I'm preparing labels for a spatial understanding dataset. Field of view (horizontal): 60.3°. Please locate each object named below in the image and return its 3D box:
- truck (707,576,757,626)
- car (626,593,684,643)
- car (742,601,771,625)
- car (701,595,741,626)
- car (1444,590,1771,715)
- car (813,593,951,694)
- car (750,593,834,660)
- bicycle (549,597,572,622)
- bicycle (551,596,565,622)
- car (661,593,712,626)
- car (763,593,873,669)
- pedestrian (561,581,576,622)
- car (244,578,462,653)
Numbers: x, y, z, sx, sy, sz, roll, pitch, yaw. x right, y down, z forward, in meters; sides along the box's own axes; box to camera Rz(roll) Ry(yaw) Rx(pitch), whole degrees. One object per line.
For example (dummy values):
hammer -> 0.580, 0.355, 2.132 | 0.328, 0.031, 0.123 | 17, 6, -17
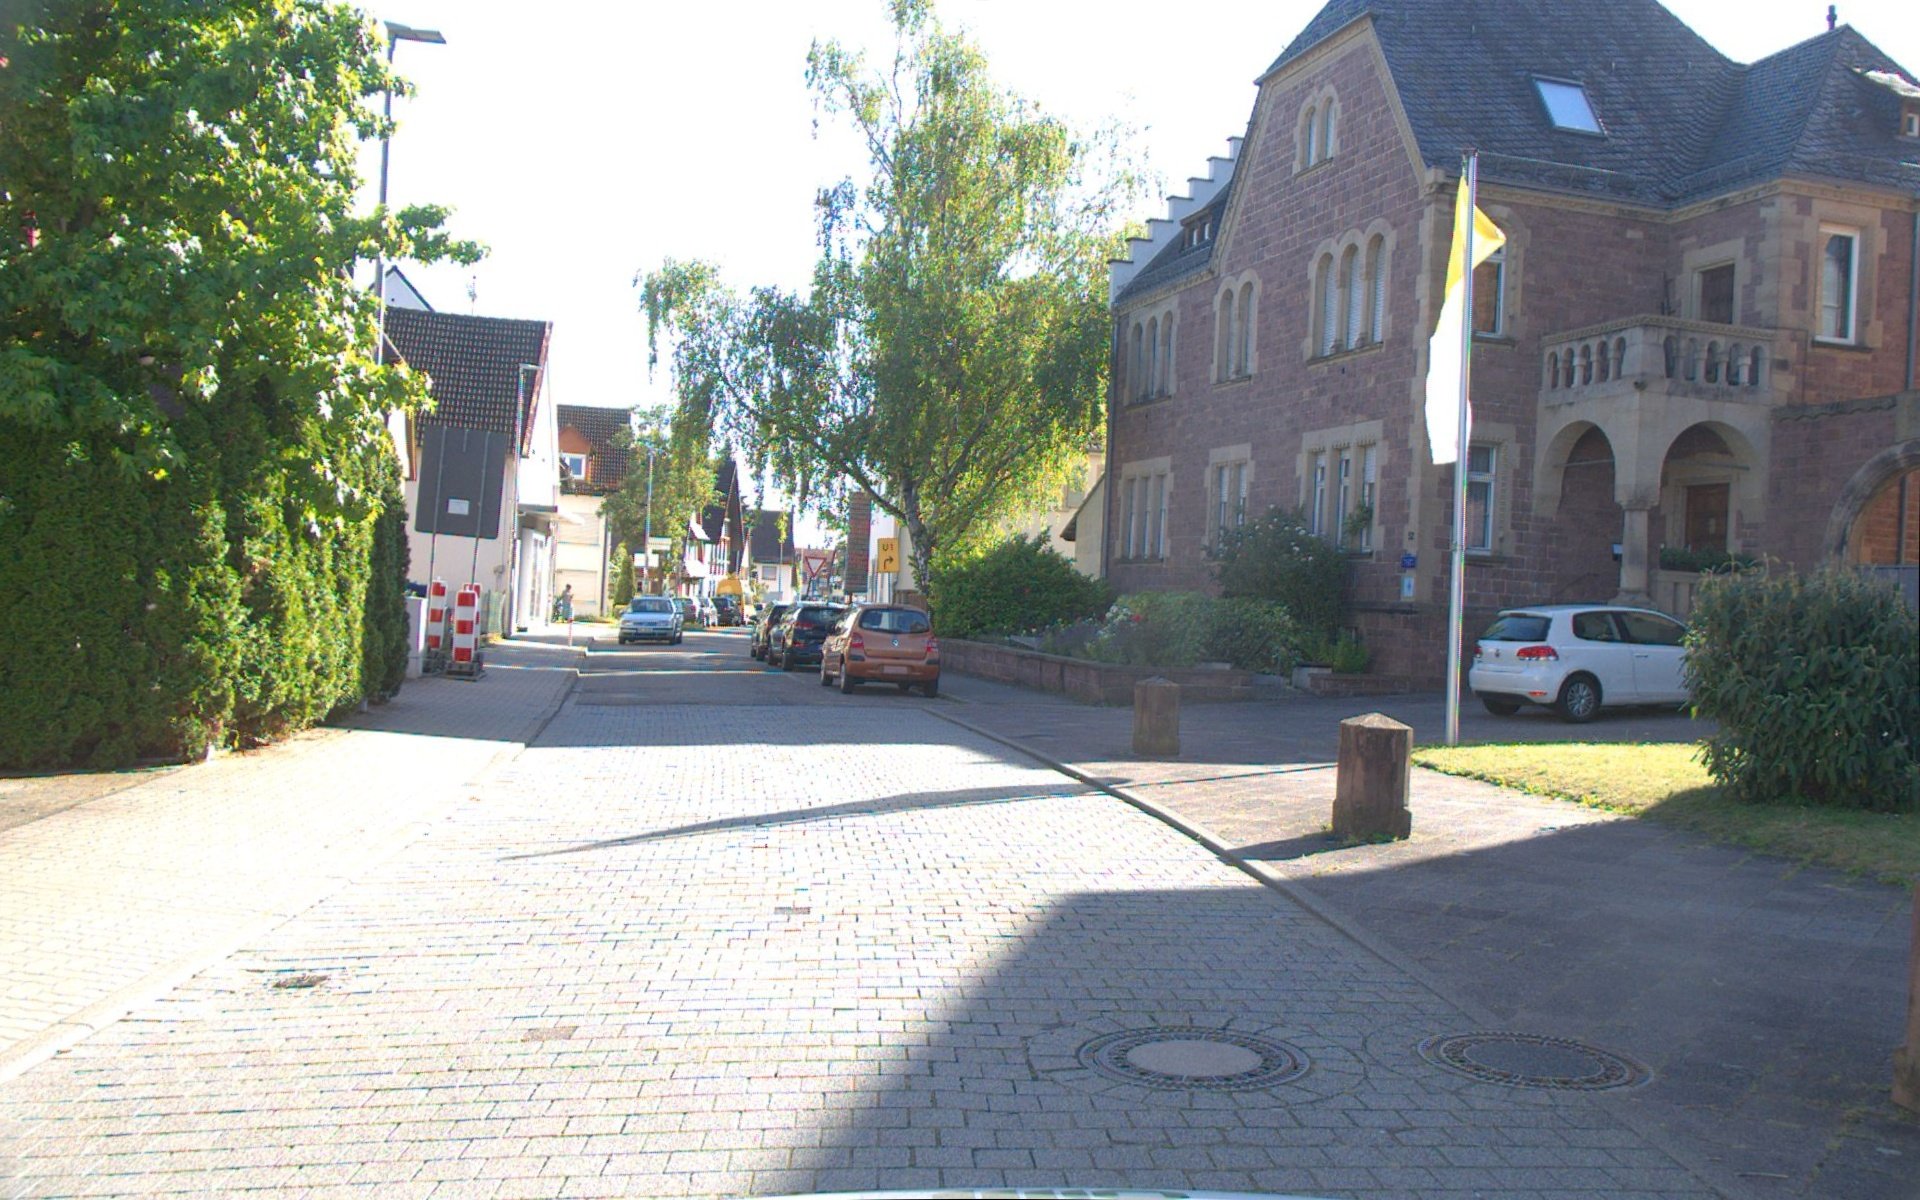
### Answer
truck -> -13.993, 0.101, 101.873 | 2.222, 2.918, 5.781 | 3, -1, -1
car -> -9.343, 0.519, 50.599 | 1.641, 1.427, 3.882 | 2, 0, -11
car -> -13.650, 0.864, 111.022 | 1.613, 1.458, 3.612 | 3, -1, -4
car -> -13.916, 0.624, 96.407 | 1.770, 1.650, 3.879 | 3, -1, -1
car -> 8.789, 0.675, 22.510 | 3.839, 1.522, 1.894 | -1, -1, -19
car -> -1.404, 0.690, 28.217 | 1.620, 1.504, 3.920 | 3, 0, -13
car -> -4.223, 0.625, 41.061 | 1.774, 1.461, 4.276 | 3, 0, -9
bicycle -> -17.815, 0.424, 73.701 | 0.566, 1.071, 2.035 | 2, -2, -3
bicycle -> -17.112, 0.395, 70.365 | 0.415, 1.071, 1.378 | 2, -2, -9
car -> -13.703, 0.502, 83.085 | 1.829, 1.532, 4.106 | 3, -1, -1
car -> -3.194, 0.643, 36.458 | 1.776, 1.461, 4.271 | 3, 0, -13
pedestrian -> -16.718, 0.062, 70.601 | 0.474, 1.722, 0.556 | 3, -3, -6
car -> -12.542, 0.313, 34.442 | 4.091, 1.487, 1.840 | 0, 1, -16
